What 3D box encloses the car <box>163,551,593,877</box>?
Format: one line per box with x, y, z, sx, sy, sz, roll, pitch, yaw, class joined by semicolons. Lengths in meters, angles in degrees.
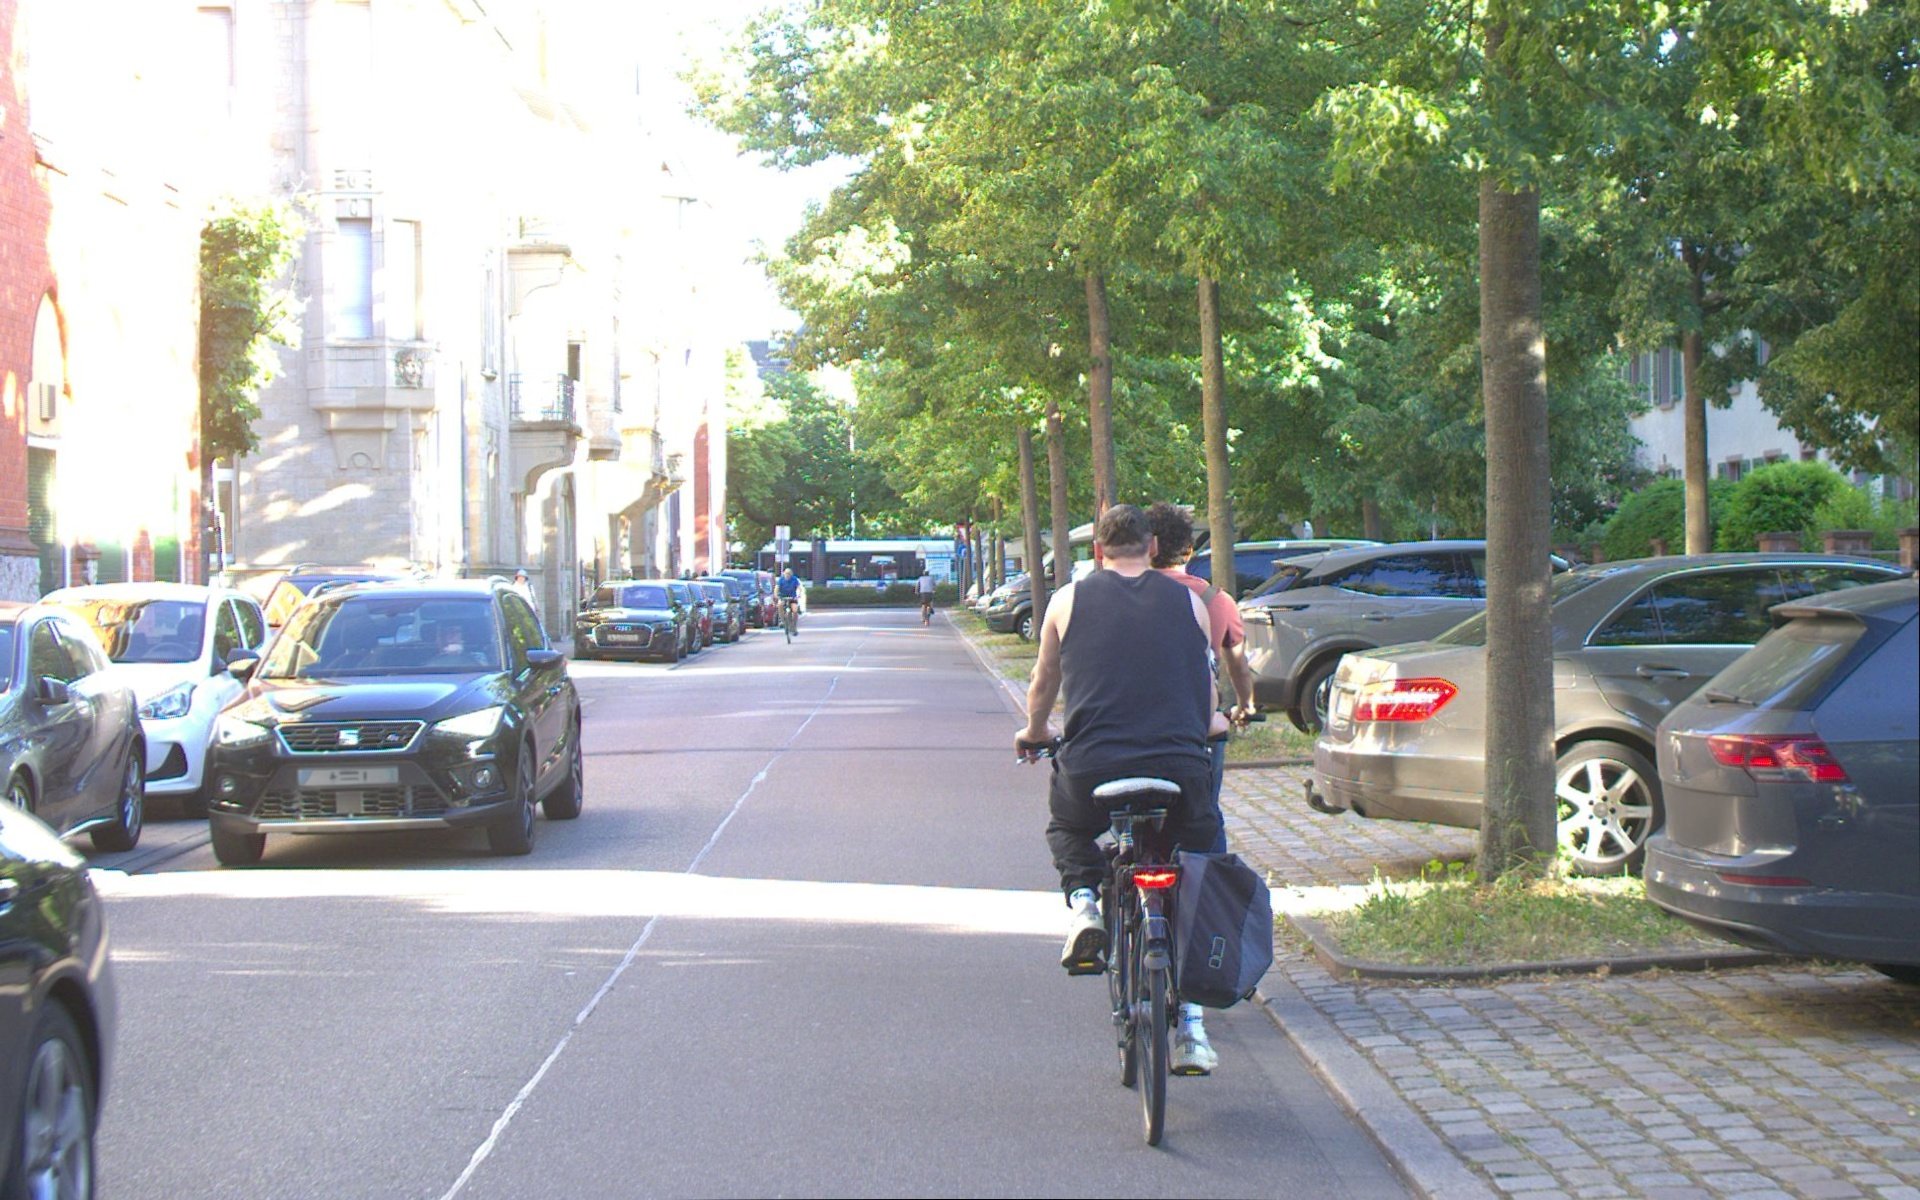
-3.254;0.593;19.977;1.767;1.594;4.090;-3;0;-1;car

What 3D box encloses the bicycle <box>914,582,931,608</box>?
-1.238;-0.164;113.379;0.541;0.825;1.919;-1;0;-1;bicycle

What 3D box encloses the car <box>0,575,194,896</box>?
-5.484;0.624;18.562;1.755;1.512;4.115;3;0;-1;car

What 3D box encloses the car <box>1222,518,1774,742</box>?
4.390;0.249;28.548;4.243;1.642;1.854;-2;0;1;car

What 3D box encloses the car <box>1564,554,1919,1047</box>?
4.375;0.553;11.106;4.502;1.448;1.816;-1;0;1;car

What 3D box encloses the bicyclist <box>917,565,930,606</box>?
-1.204;-0.491;113.448;0.417;1.346;0.430;-1;-1;-1;bicyclist

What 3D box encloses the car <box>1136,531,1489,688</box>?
4.437;0.125;43.764;4.243;1.791;1.854;-2;0;1;car

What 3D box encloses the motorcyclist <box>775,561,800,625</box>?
-3.992;-0.168;79.504;0.551;1.443;0.688;-1;1;-3;motorcyclist

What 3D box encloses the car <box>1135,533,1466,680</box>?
4.562;0.095;46.497;4.243;1.791;1.854;-2;0;1;car

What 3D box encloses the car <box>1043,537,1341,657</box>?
3.788;-0.047;56.762;4.757;1.774;1.854;-2;0;1;car

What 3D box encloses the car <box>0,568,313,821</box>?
-5.503;0.585;23.333;1.491;1.512;3.775;3;0;-1;car

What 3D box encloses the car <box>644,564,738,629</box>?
-6.536;-0.073;83.807;1.993;1.525;4.000;-1;0;-1;car

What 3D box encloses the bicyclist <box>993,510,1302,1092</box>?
0.500;0.531;9.541;0.706;1.521;0.972;-1;-1;-5;bicyclist

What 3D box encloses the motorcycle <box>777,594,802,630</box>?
-3.954;0.267;79.498;0.551;0.798;1.308;-1;1;-3;motorcycle

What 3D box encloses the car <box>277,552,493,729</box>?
-5.764;0.403;34.853;1.630;1.660;3.969;-1;0;-2;car

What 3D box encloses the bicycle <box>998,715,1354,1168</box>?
0.553;0.885;9.580;0.696;1.069;1.969;-1;0;-5;bicycle

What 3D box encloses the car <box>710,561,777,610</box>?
-7.107;-0.462;113.098;1.993;1.525;4.000;-1;0;-1;car

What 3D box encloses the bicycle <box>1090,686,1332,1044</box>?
0.839;0.871;11.963;0.555;1.069;1.969;-1;0;-4;bicycle

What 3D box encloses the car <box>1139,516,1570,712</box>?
4.063;0.151;35.957;4.243;1.833;1.854;-2;0;1;car

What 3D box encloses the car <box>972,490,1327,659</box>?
3.984;-0.521;73.289;7.333;3.271;2.223;-2;0;1;car

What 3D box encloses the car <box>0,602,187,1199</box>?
-2.680;0.771;5.482;1.896;1.481;4.381;-2;-1;0;car

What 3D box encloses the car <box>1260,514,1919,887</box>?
3.718;0.435;16.665;4.242;1.600;1.754;-2;0;-3;car

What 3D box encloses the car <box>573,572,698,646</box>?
-6.028;0.174;64.248;1.971;1.315;4.000;-1;0;-1;car

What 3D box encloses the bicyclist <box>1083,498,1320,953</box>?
0.832;0.426;12.071;0.718;1.521;0.972;-1;-1;-1;bicyclist
